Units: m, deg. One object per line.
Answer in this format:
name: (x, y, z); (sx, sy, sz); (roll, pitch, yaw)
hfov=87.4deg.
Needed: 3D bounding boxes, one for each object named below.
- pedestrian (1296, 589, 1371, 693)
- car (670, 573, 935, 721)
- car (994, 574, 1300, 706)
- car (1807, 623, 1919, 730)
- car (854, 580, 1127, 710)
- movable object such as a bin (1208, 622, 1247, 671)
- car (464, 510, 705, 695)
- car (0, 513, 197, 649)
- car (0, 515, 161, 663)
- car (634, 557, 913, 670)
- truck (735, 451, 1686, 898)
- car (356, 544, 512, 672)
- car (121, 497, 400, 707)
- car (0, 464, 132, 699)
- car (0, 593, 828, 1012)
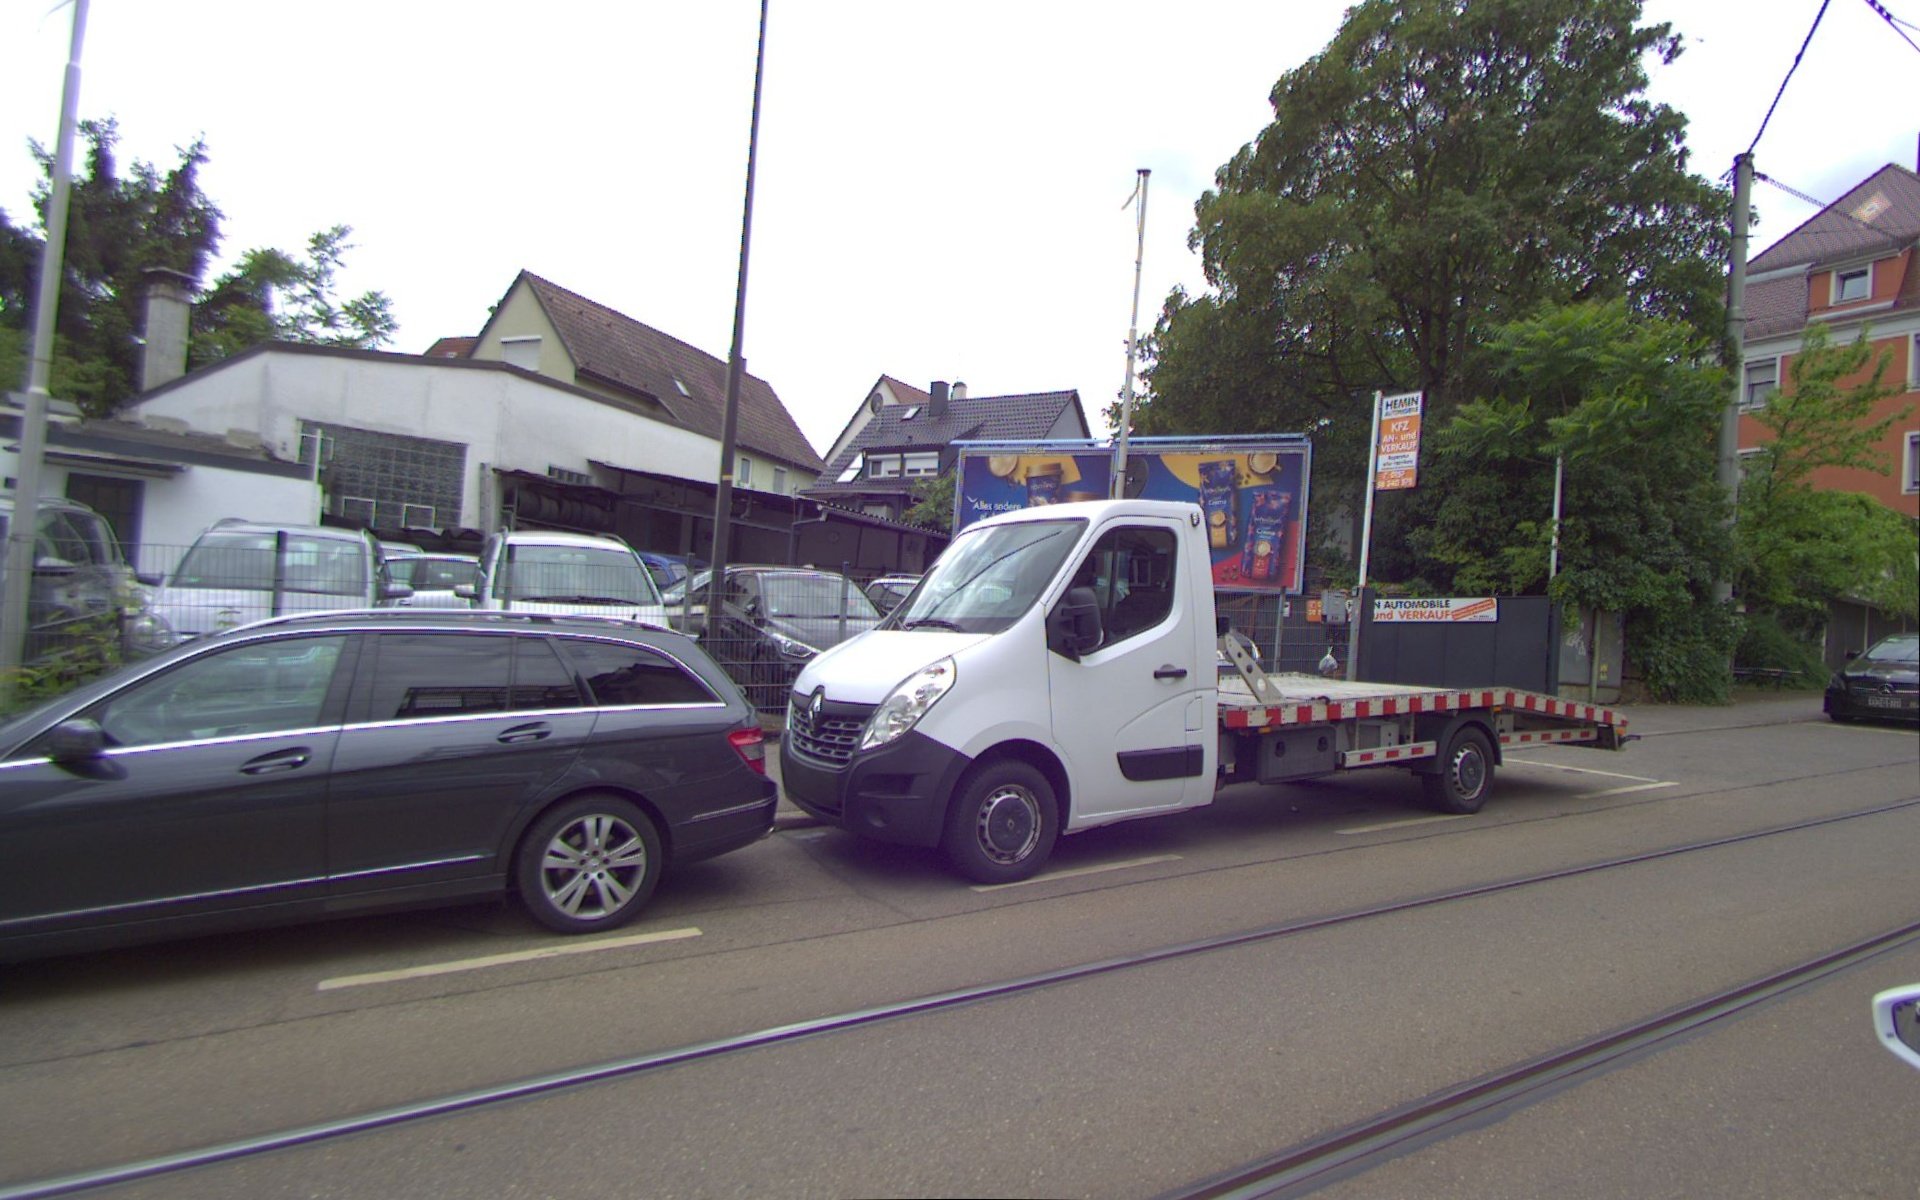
pedestrian: (6.158, 0.667, 16.580); (0.829, 1.656, 0.770); (1, 0, -26)
car: (-1.952, 0.437, 11.414); (1.668, 1.375, 3.857); (2, 0, -30)
car: (2.470, 0.463, 13.956); (1.677, 1.572, 3.920); (2, 0, -44)
car: (15.162, 1.149, 15.622); (4.239, 1.466, 1.704); (2, 0, -30)
car: (0.215, 0.475, 12.731); (1.668, 1.375, 3.857); (2, 0, -30)
movable object such as a bin: (5.104, 0.875, 19.123); (0.566, 0.889, 0.731); (1, 0, 26)
car: (-4.057, 0.021, 10.429); (1.668, 1.514, 4.040); (2, 0, -30)
car: (-12.203, -0.239, 12.675); (3.842, 1.635, 1.675); (2, 0, -30)
car: (-11.001, -0.142, 10.529); (3.842, 1.514, 1.675); (2, 0, -30)
car: (-2.865, 0.226, 15.664); (3.929, 1.572, 1.673); (2, 0, -32)
truck: (2.446, 0.466, 7.951); (7.929, 2.217, 2.270); (2, 0, -30)
car: (-7.389, 0.097, 13.990); (1.668, 1.514, 3.857); (2, 0, -30)
car: (-6.115, 0.014, 9.162); (1.668, 1.464, 4.040); (2, 0, -30)
car: (-8.051, -0.161, 7.891); (1.719, 1.544, 4.040); (2, 0, -30)
car: (-2.997, 0.749, 4.711); (4.432, 1.452, 1.688); (2, -2, -32)
